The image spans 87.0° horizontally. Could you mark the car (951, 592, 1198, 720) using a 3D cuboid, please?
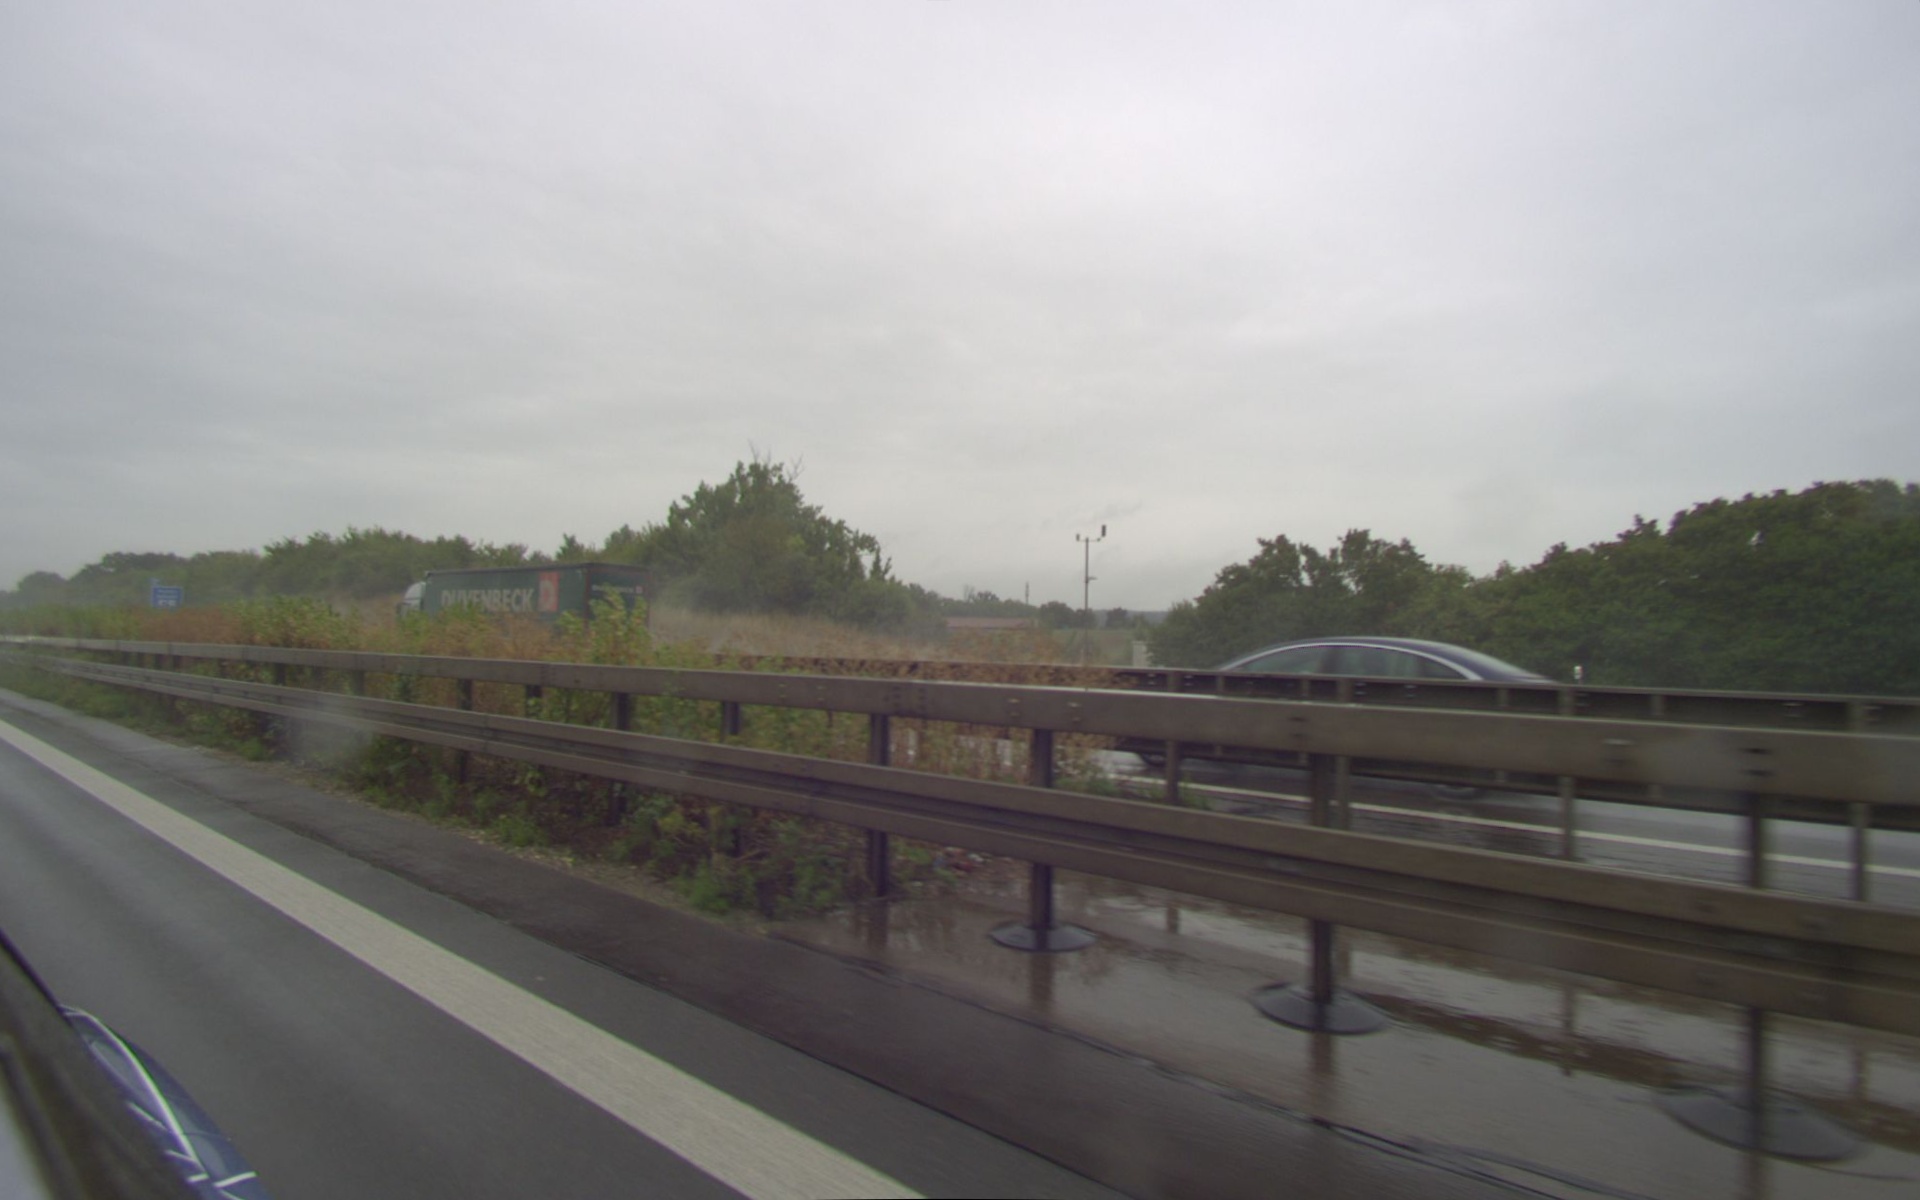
[{"bbox_3d":[1.862,0.824,17.059,3.846,1.873,1.654,1,1,39],"label":"car"}]

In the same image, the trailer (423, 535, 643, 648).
[{"bbox_3d":[-17.118,-0.189,39.651,13.605,3.833,2.271,-1,-1,41],"label":"trailer"}]

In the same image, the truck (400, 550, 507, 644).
[{"bbox_3d":[-22.073,-0.109,43.974,5.397,3.834,2.293,-1,-1,41],"label":"truck"}]

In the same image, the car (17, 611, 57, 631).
[{"bbox_3d":[-114.428,2.634,125.466,5.834,2.407,3.038,-1,-1,42],"label":"car"}]
